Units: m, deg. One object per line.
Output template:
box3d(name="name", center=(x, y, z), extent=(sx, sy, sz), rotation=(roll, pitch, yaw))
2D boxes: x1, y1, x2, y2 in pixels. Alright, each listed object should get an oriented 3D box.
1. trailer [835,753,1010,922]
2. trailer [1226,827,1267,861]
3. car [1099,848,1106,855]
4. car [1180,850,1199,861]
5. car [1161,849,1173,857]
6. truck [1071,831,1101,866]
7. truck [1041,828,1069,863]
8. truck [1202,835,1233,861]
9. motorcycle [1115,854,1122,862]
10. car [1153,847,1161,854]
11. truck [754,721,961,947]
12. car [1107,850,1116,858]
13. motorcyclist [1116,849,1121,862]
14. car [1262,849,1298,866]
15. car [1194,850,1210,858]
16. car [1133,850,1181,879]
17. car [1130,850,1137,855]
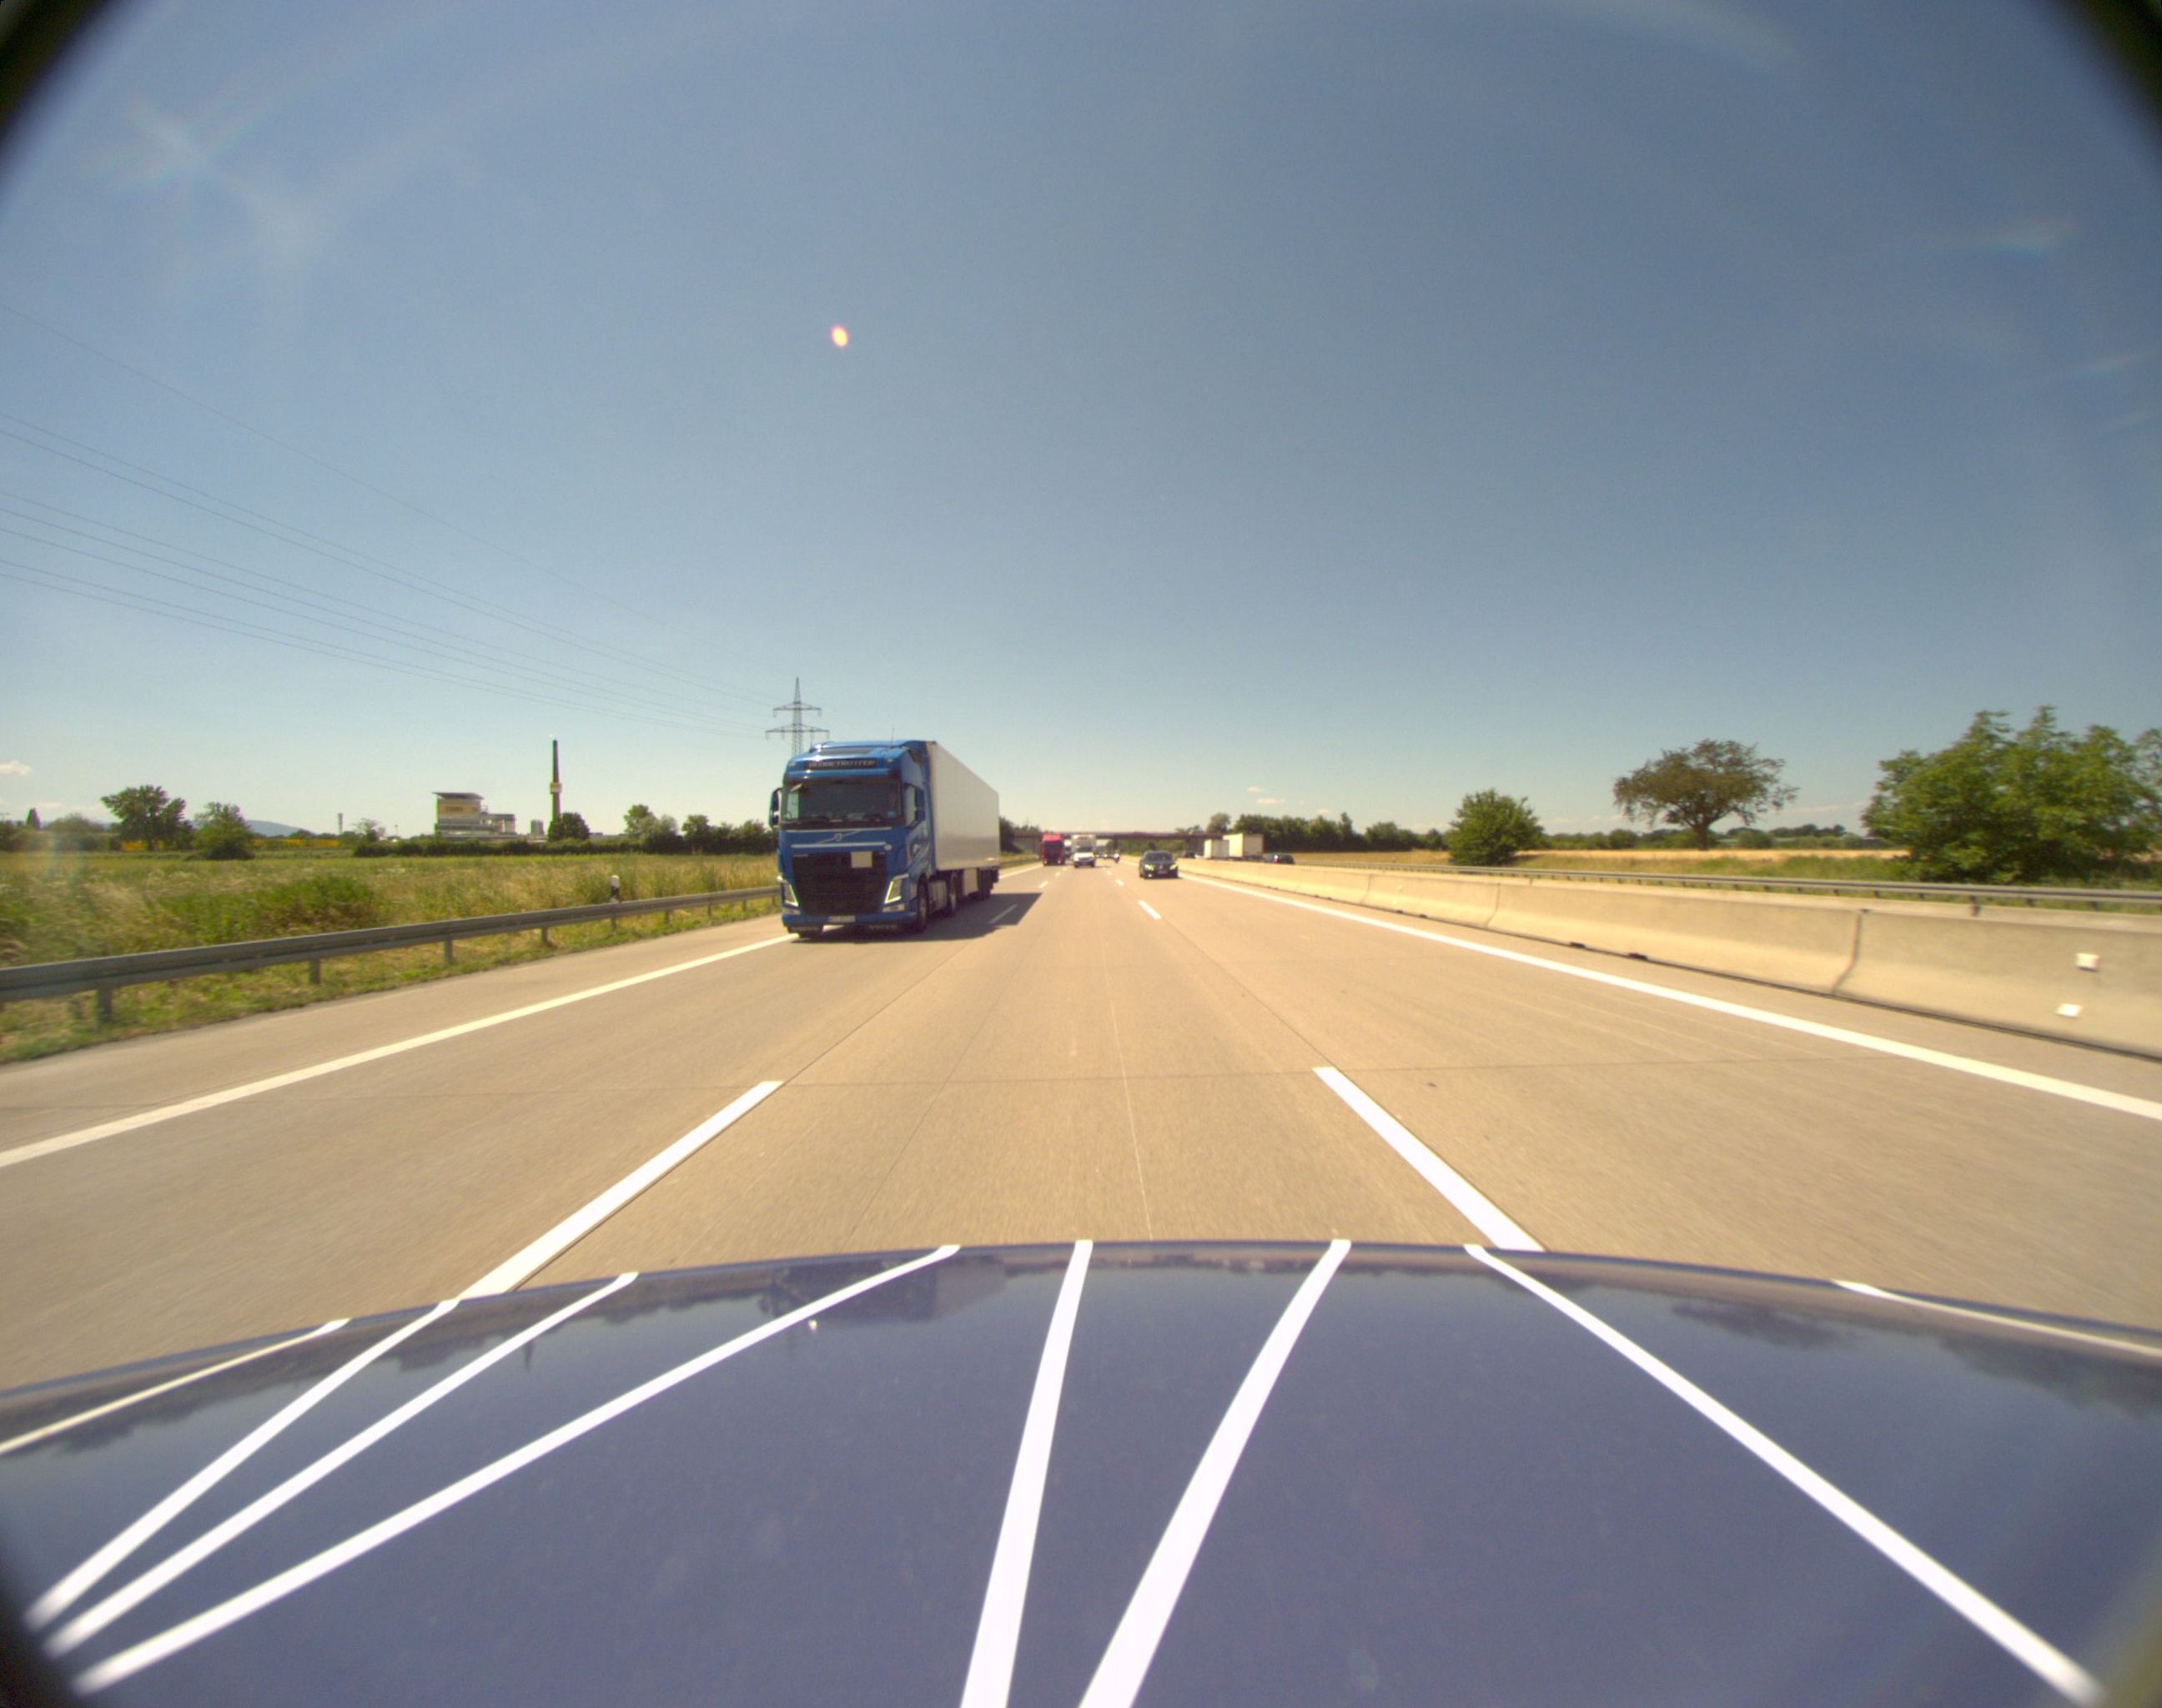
box3d(name="trailer", center=(-4.457, -0.459, 24.939), extent=(2.715, 4.020, 12.901), rotation=(-2, 1, 1))
box3d(name="trailer", center=(21.764, -1.300, 100.688), extent=(2.827, 4.021, 12.677), rotation=(-2, 1, 1))
box3d(name="car", center=(5.413, -0.635, 189.702), extent=(1.683, 1.444, 3.564), rotation=(-2, 1, 2))
box3d(name="car", center=(13.651, 0.167, 95.894), extent=(1.851, 1.343, 4.493), rotation=(-1, 1, 2))
box3d(name="car", center=(13.406, -0.197, 118.642), extent=(1.546, 1.156, 3.375), rotation=(-2, 0, 0))
box3d(name="truck", center=(0.563, -0.590, 78.080), extent=(2.784, 3.328, 7.812), rotation=(-2, 1, 1))
box3d(name="truck", center=(-3.296, -1.089, 99.051), extent=(2.855, 4.298, 10.885), rotation=(-2, 1, 1))
box3d(name="truck", center=(17.618, -0.805, 98.424), extent=(2.553, 3.124, 7.922), rotation=(-1, 1, 0))
box3d(name="motorcycle", center=(4.897, 0.497, 98.952), extent=(0.683, 1.046, 2.065), rotation=(-2, 1, -1))
box3d(name="car", center=(22.956, -1.070, 230.690), extent=(1.870, 1.933, 5.565), rotation=(-2, 1, 1))
box3d(name="truck", center=(-4.515, -0.385, 16.630), extent=(2.757, 4.020, 5.465), rotation=(-2, 1, 0))
box3d(name="car", center=(6.002, 0.047, 149.967), extent=(1.557, 1.440, 3.776), rotation=(-2, 1, 2))
box3d(name="motorcyclist", center=(4.886, 0.183, 98.970), extent=(0.672, 1.552, 0.774), rotation=(-2, 1, -1))
box3d(name="car", center=(13.234, 0.229, 50.633), extent=(1.525, 1.047, 3.523), rotation=(-2, 0, 2))
box3d(name="car", center=(18.064, 0.039, 113.563), extent=(1.684, 1.140, 4.397), rotation=(0, 1, 0))
box3d(name="car", center=(4.167, 0.531, 42.735), extent=(1.999, 1.462, 6.346), rotation=(0, 0, 0))
box3d(name="car", center=(15.129, -0.485, 218.084), extent=(1.776, 1.233, 4.676), rotation=(-2, 1, 0))
